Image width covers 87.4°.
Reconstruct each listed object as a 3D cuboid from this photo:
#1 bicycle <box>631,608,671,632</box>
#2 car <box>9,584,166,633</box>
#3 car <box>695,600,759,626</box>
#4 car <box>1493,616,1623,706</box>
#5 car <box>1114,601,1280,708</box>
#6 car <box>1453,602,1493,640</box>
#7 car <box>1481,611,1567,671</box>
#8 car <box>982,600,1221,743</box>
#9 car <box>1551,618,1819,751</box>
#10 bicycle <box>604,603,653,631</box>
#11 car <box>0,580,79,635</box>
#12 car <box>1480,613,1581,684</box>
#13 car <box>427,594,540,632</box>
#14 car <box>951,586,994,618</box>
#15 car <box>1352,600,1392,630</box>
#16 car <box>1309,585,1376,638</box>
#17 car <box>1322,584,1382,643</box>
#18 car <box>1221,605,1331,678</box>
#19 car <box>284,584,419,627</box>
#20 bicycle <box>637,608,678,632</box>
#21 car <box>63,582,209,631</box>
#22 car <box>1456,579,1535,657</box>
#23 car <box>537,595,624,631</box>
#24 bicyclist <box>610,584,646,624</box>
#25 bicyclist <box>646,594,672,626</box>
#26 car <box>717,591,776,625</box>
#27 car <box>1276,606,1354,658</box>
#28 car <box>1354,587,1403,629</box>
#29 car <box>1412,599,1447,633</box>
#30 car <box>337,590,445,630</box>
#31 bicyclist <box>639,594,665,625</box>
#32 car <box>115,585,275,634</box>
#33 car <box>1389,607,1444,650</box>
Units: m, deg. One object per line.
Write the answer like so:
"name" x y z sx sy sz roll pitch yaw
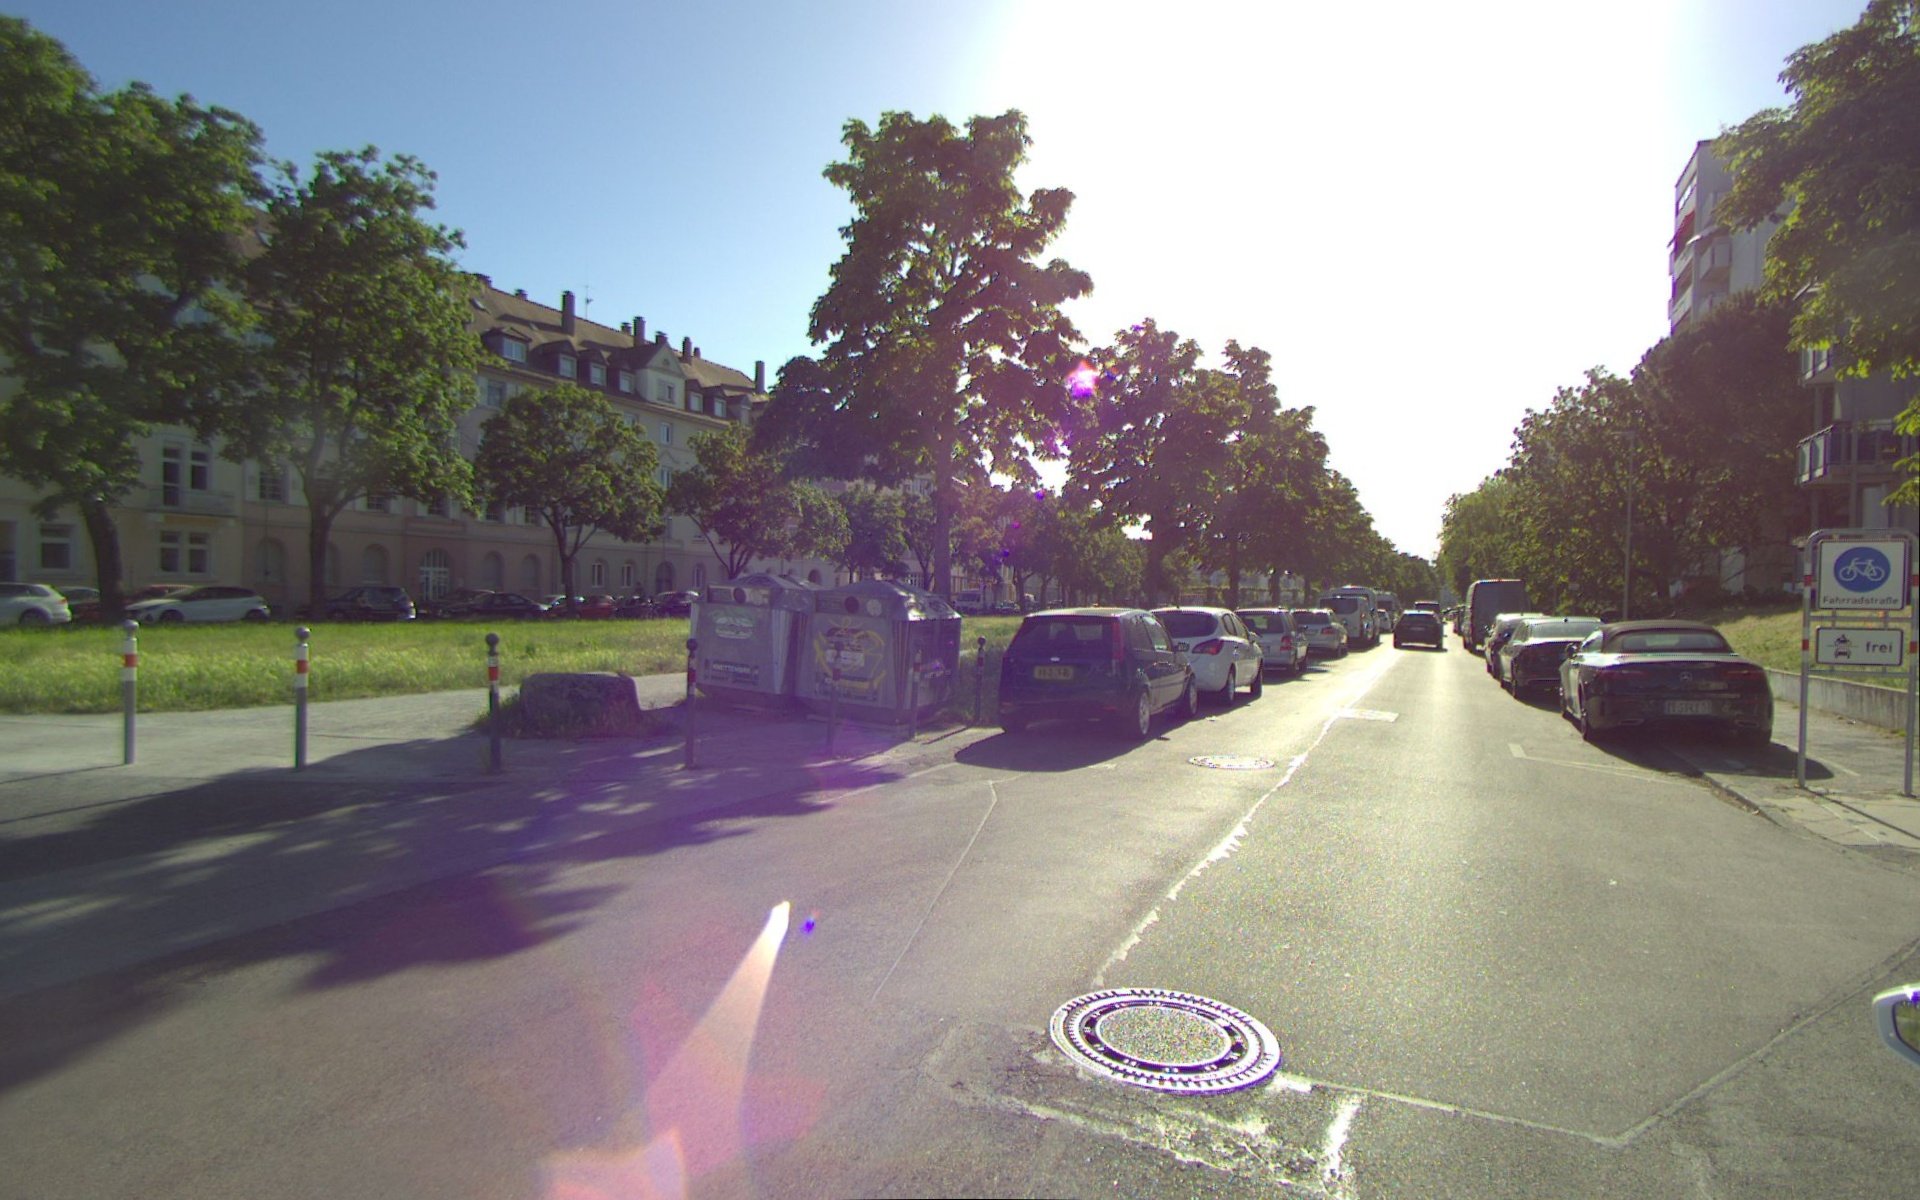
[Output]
"bicycle" -14.763 0.930 48.025 0.720 1.093 1.954 1 0 24
"car" -31.393 0.294 36.261 1.855 1.636 3.857 1 0 25
"car" -13.884 0.753 60.030 1.668 1.448 3.769 1 0 27
"car" 10.914 1.032 18.575 1.752 1.389 4.121 1 0 27
"car" 3.964 0.815 16.321 1.750 1.514 3.870 -1 -1 27
"car" 32.933 1.298 64.619 2.129 2.323 5.260 1 0 26
"car" 16.052 1.104 28.772 1.958 1.507 4.121 1 0 27
"car" 1.894 0.781 12.308 1.721 1.443 3.911 -1 -2 27
"car" 8.967 0.937 12.892 2.093 1.355 4.500 -1 -1 27
"bicycle" -15.839 0.806 48.064 0.796 1.269 2.635 1 0 18
"car" -28.646 0.185 28.910 1.667 1.582 4.695 1 0 23
"car" 13.702 1.090 24.299 1.751 1.507 4.028 1 0 25
"car" -21.165 0.578 44.812 1.728 1.570 4.525 1 0 23
"car" 1.219 0.194 92.100 1.885 2.780 5.621 1 0 23
"car" 26.167 0.950 63.745 1.979 1.809 4.121 1 0 27
"car" 15.245 0.453 39.937 2.066 1.968 4.122 1 0 26
"car" 17.893 0.604 45.773 2.066 2.529 4.121 2 0 27
"car" 7.450 0.898 23.433 1.752 1.481 4.121 1 0 27
"car" -23.602 0.217 39.132 1.605 1.570 4.352 1 0 23
"bicycle" -14.195 0.919 47.172 0.720 1.093 1.954 1 0 24
"car" -28.994 0.220 35.457 1.748 1.623 3.589 1 0 25
"car" 20.157 0.633 38.017 2.128 2.725 5.413 1 0 23
"car" -18.739 0.635 49.801 1.605 1.709 4.079 1 0 23
"bicyclist" -15.846 0.214 48.006 0.926 1.862 1.450 1 -1 19
"bicyclist" -14.170 0.481 47.289 0.726 1.456 0.942 1 -1 26
"car" -14.968 0.567 70.673 1.748 2.289 4.460 1 0 24
"car" 11.498 0.979 32.354 1.805 1.520 4.121 1 0 27
"car" 28.696 0.565 68.803 2.577 2.681 6.106 2 0 27
"car" 29.416 0.982 62.903 1.866 2.018 4.005 0 -1 27
"car" -26.336 0.457 46.600 1.818 1.724 3.994 2 0 28
"bicyclist" -14.746 0.448 48.056 0.726 1.457 0.941 2 0 26
"car" -26.076 0.324 34.399 1.667 1.547 4.079 1 0 23
"car" 18.272 1.097 40.091 1.752 1.551 3.995 3 1 27
